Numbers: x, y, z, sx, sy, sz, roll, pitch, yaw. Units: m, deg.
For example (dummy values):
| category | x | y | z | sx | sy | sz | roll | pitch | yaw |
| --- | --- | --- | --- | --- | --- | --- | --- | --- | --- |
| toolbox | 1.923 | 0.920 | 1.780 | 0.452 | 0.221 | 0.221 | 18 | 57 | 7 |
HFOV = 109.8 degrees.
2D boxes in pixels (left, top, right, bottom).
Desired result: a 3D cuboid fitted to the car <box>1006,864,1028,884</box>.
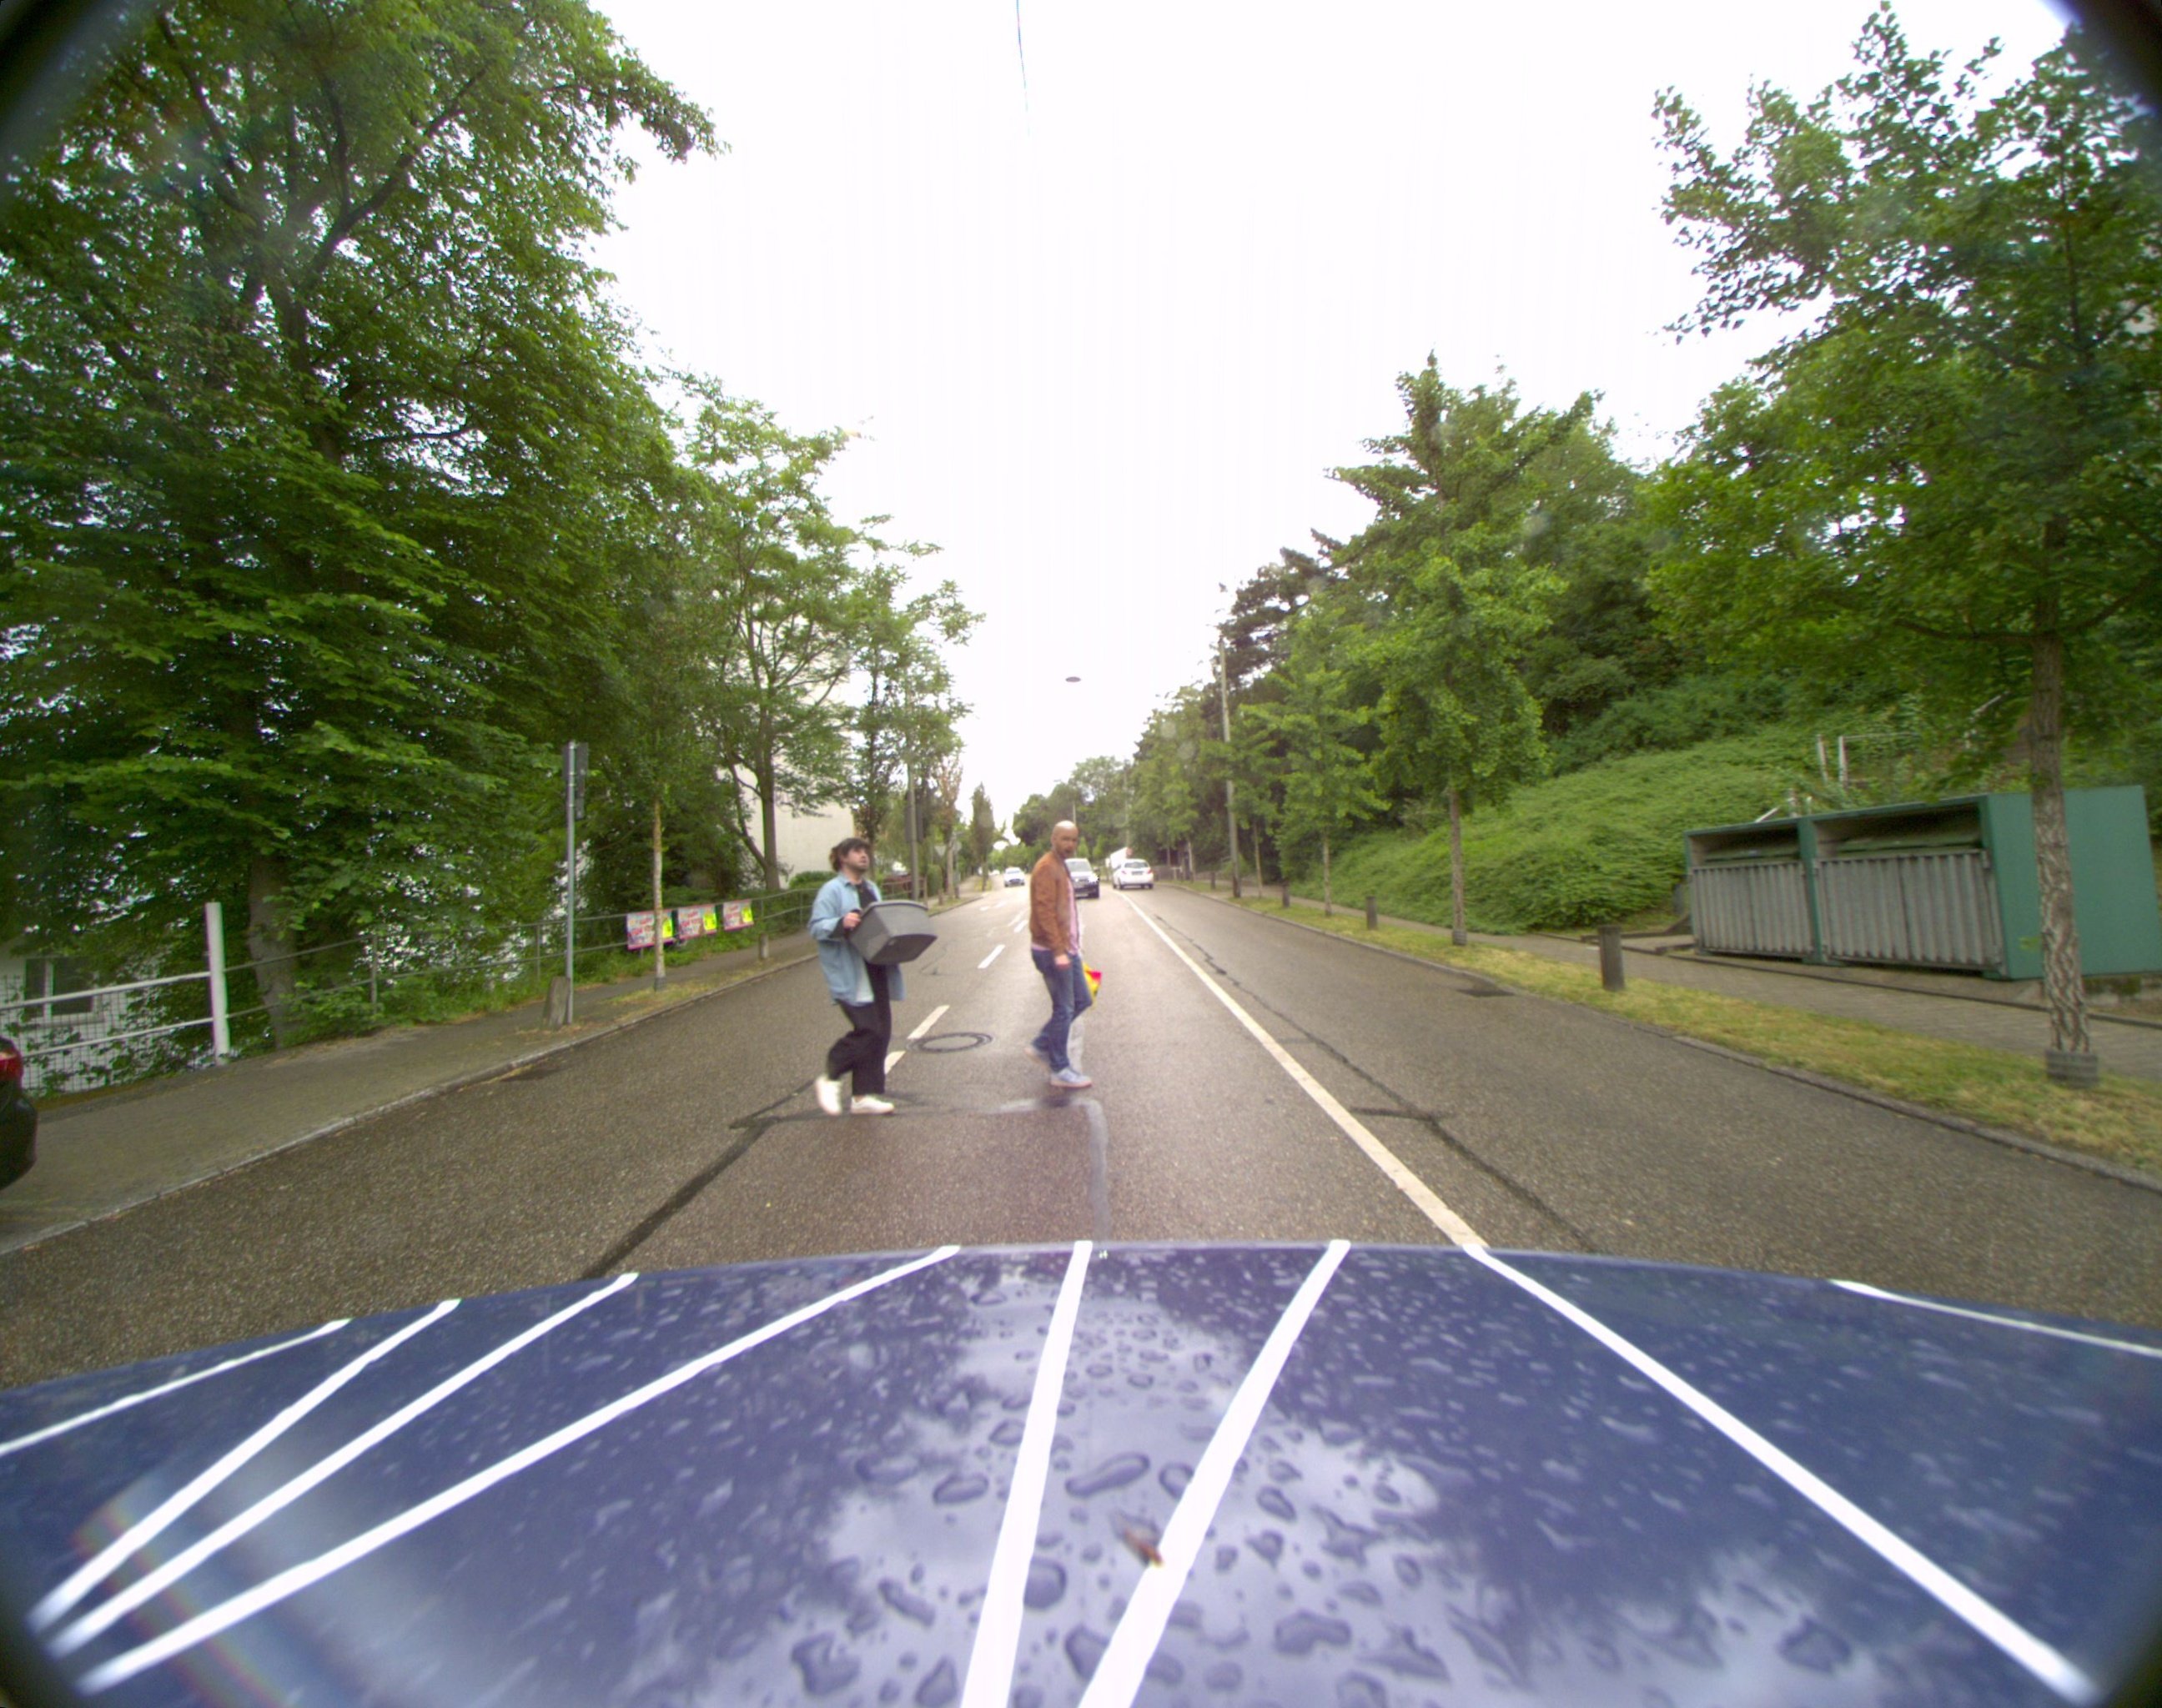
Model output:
| category | x | y | z | sx | sy | sz | roll | pitch | yaw |
| --- | --- | --- | --- | --- | --- | --- | --- | --- | --- |
| car | -6.081 | 1.866 | 71.720 | 1.835 | 1.608 | 4.348 | -3 | 1 | -7 |

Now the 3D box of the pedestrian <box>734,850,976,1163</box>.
| category | x | y | z | sx | sy | sz | roll | pitch | yaw |
| --- | --- | --- | --- | --- | --- | --- | --- | --- | --- |
| pedestrian | -1.416 | 0.903 | 4.881 | 1.071 | 1.772 | 0.825 | -4 | 1 | 19 |

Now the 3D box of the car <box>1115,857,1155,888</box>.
| category | x | y | z | sx | sy | sz | roll | pitch | yaw |
| --- | --- | --- | --- | --- | --- | --- | --- | --- | --- |
| car | 2.740 | 0.930 | 39.400 | 1.714 | 1.522 | 3.841 | 0 | 0 | -1 |

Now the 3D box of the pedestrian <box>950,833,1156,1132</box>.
| category | x | y | z | sx | sy | sz | roll | pitch | yaw |
| --- | --- | --- | --- | --- | --- | --- | --- | --- | --- |
| pedestrian | -0.180 | 0.765 | 5.129 | 1.070 | 1.772 | 0.826 | -1 | 1 | 33 |

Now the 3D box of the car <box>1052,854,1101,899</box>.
| category | x | y | z | sx | sy | sz | roll | pitch | yaw |
| --- | --- | --- | --- | --- | --- | --- | --- | --- | --- |
| car | -0.181 | 0.884 | 31.745 | 1.834 | 1.608 | 4.292 | -3 | 1 | 0 |

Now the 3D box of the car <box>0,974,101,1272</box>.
| category | x | y | z | sx | sy | sz | roll | pitch | yaw |
| --- | --- | --- | --- | --- | --- | --- | --- | --- | --- |
| car | -6.353 | 1.383 | 1.924 | 1.999 | 1.426 | 4.442 | -1 | 0 | -1 |

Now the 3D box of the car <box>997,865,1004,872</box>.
| category | x | y | z | sx | sy | sz | roll | pitch | yaw |
| --- | --- | --- | --- | --- | --- | --- | --- | --- | --- |
| car | -21.090 | 3.895 | 199.228 | 1.892 | 1.710 | 4.235 | -1 | 1 | -5 |
